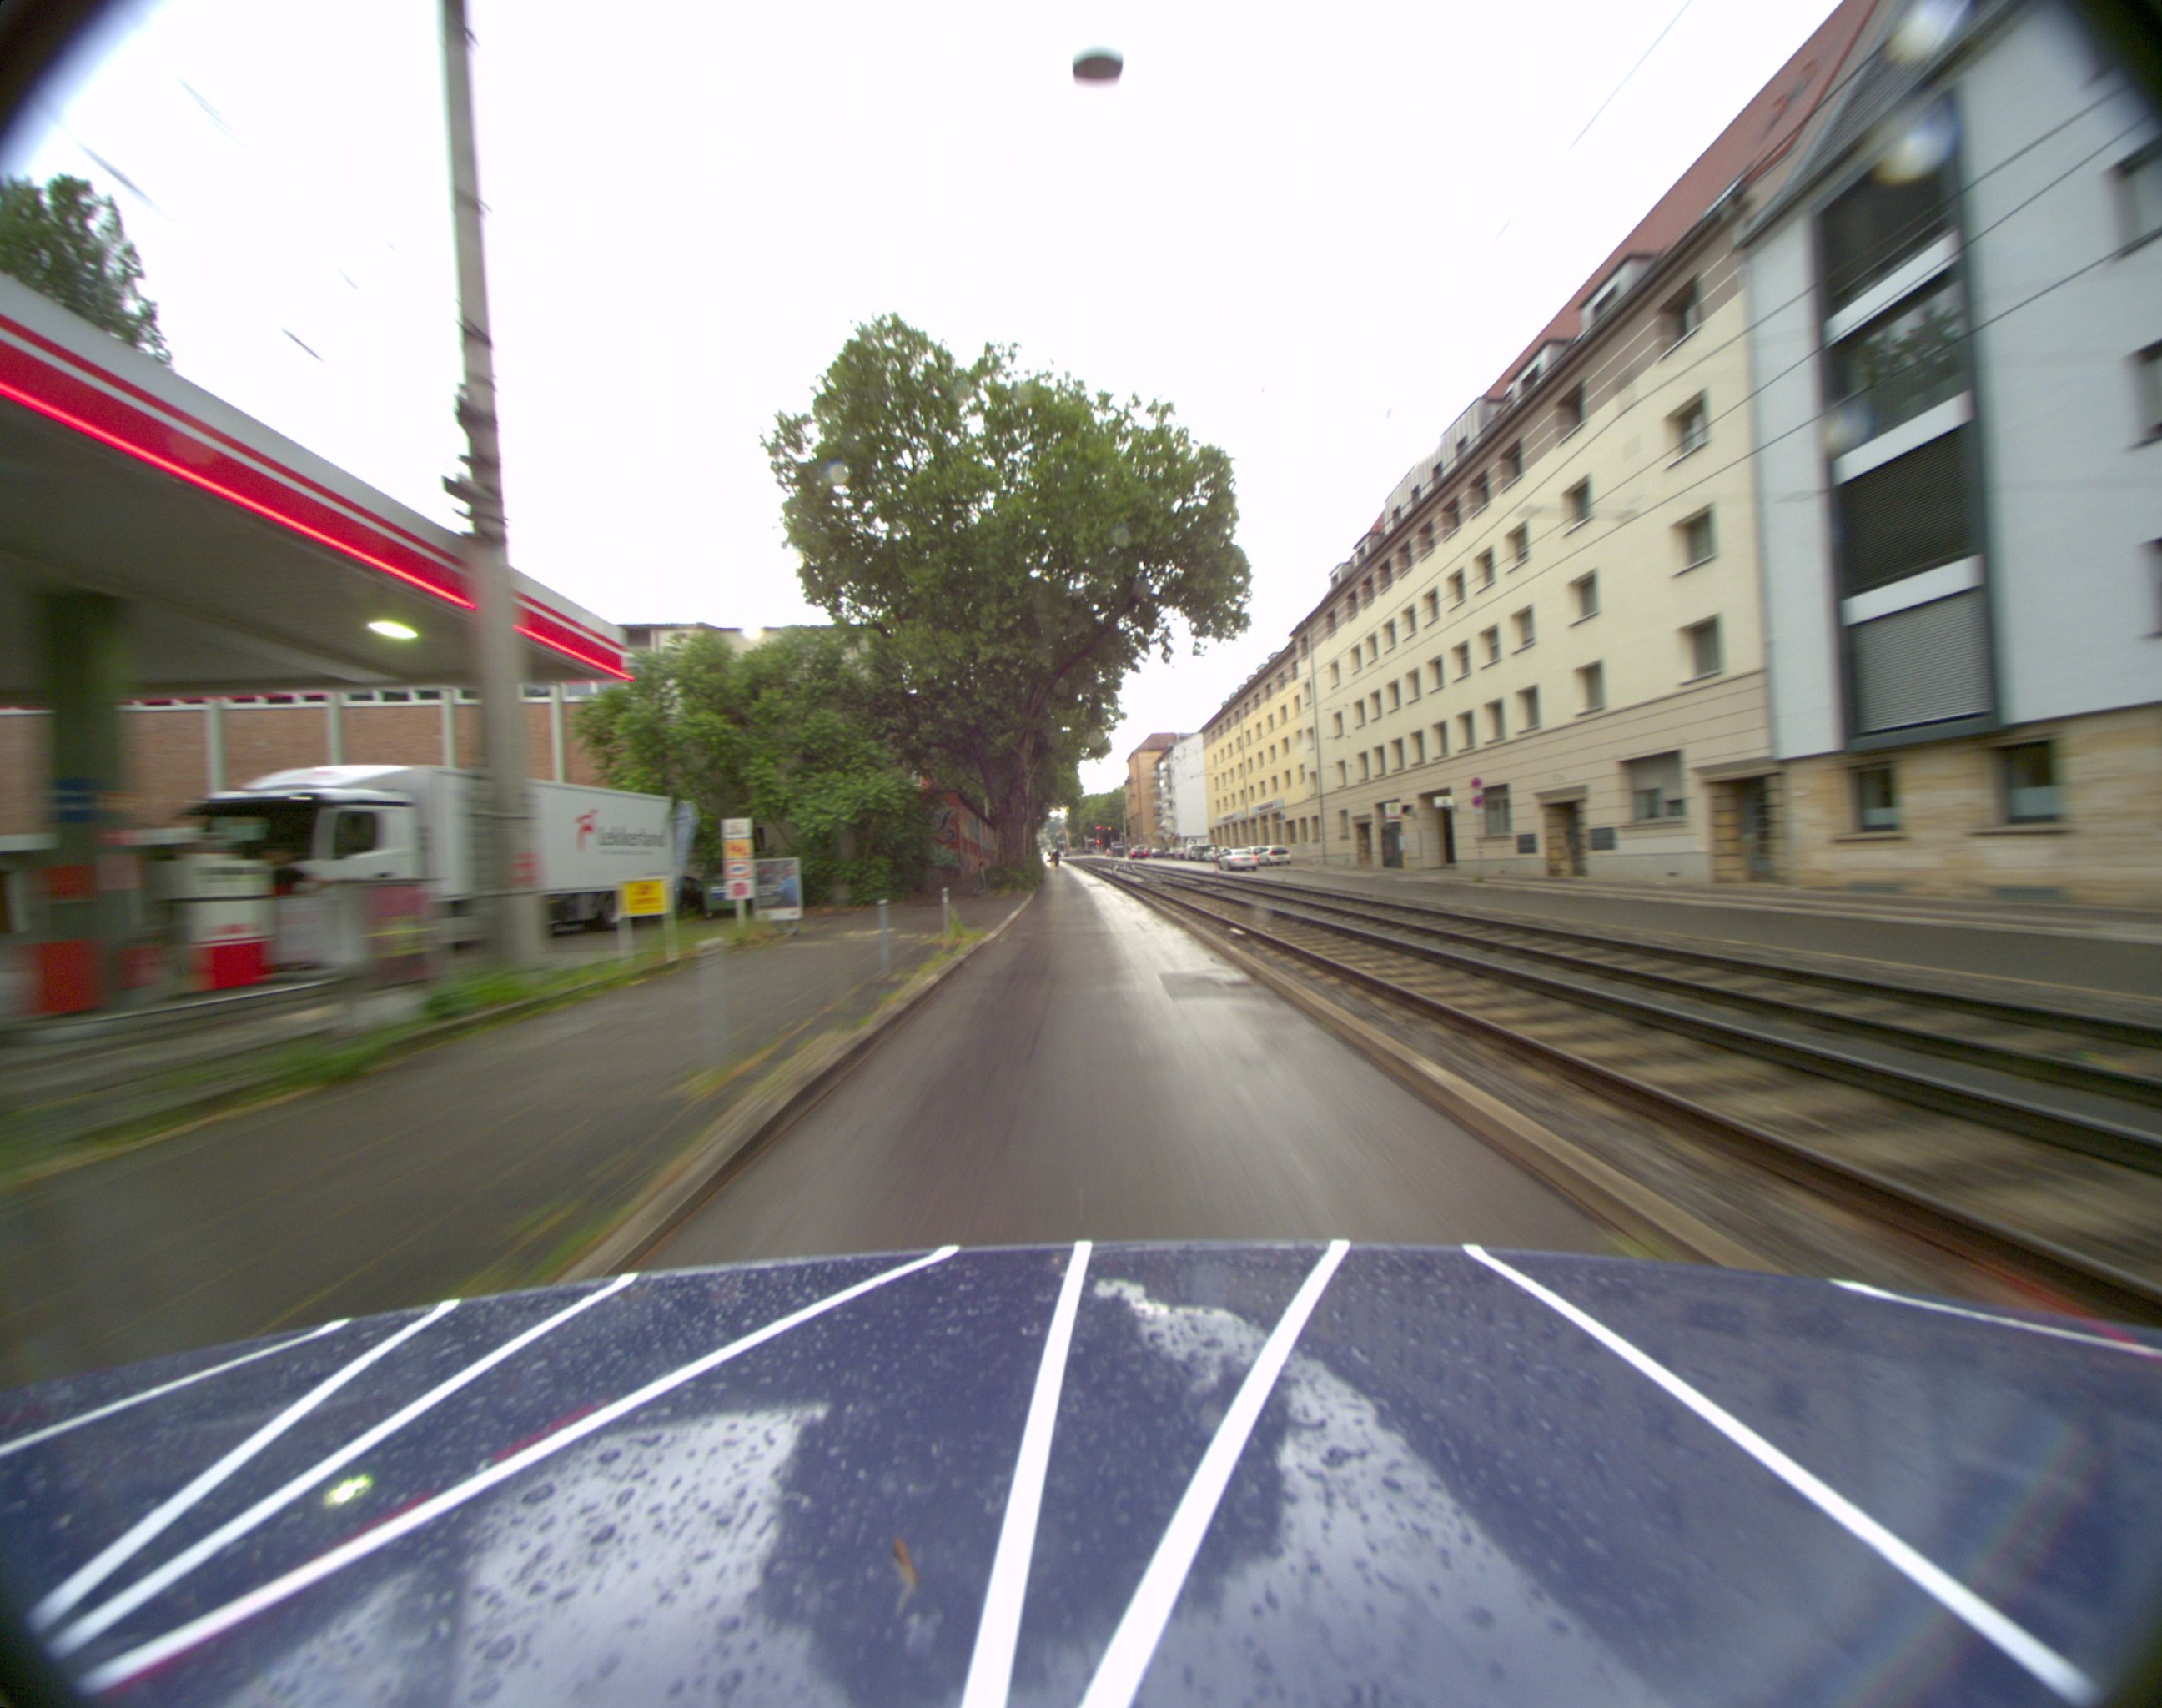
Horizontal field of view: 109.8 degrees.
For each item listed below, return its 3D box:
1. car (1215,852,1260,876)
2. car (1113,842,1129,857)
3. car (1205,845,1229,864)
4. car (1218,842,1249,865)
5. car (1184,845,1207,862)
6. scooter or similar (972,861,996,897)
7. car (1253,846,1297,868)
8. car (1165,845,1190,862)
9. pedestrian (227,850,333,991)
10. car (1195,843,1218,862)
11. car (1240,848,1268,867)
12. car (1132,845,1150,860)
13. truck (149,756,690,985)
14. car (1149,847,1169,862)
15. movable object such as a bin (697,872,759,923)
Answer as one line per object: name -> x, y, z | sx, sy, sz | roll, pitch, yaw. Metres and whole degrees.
car -> 10.611, 0.635, 51.729 | 1.691, 1.528, 5.015 | -2, 0, -4
car -> 6.789, -0.741, 129.153 | 2.184, 2.420, 4.747 | -2, 1, -2
car -> 13.176, 0.021, 73.878 | 1.377, 1.743, 3.404 | -2, 1, -5
car -> 13.715, -0.050, 68.466 | 1.729, 1.949, 4.297 | -2, 1, -3
car -> 12.802, -0.034, 84.852 | 1.727, 1.798, 3.590 | -2, 1, -5
scooter or similar -> -3.565, 0.916, 27.898 | 0.400, 1.186, 1.363 | -1, 4, 12
car -> 14.486, 0.191, 56.961 | 2.031, 1.533, 3.997 | -2, 1, -5
car -> 11.413, -0.074, 90.242 | 2.031, 2.002, 4.225 | -2, 1, -5
pedestrian -> -11.975, 0.968, 11.385 | 0.810, 2.028, 0.651 | -2, 1, -1
car -> 12.939, -0.133, 78.417 | 1.557, 1.872, 4.039 | -2, 1, -2
car -> 14.016, 0.280, 61.658 | 1.327, 1.476, 3.189 | -2, 1, -5
car -> 8.110, -0.251, 103.169 | 1.949, 2.002, 3.999 | -2, 1, -2
truck -> -13.084, 0.191, 17.106 | 2.660, 3.549, 10.255 | -2, 1, 3
car -> 11.163, 0.081, 109.425 | 2.031, 2.002, 4.225 | -2, 1, -5
movable object such as a bin -> -10.414, 1.269, 22.474 | 1.286, 1.392, 1.073 | -1, 0, 1
